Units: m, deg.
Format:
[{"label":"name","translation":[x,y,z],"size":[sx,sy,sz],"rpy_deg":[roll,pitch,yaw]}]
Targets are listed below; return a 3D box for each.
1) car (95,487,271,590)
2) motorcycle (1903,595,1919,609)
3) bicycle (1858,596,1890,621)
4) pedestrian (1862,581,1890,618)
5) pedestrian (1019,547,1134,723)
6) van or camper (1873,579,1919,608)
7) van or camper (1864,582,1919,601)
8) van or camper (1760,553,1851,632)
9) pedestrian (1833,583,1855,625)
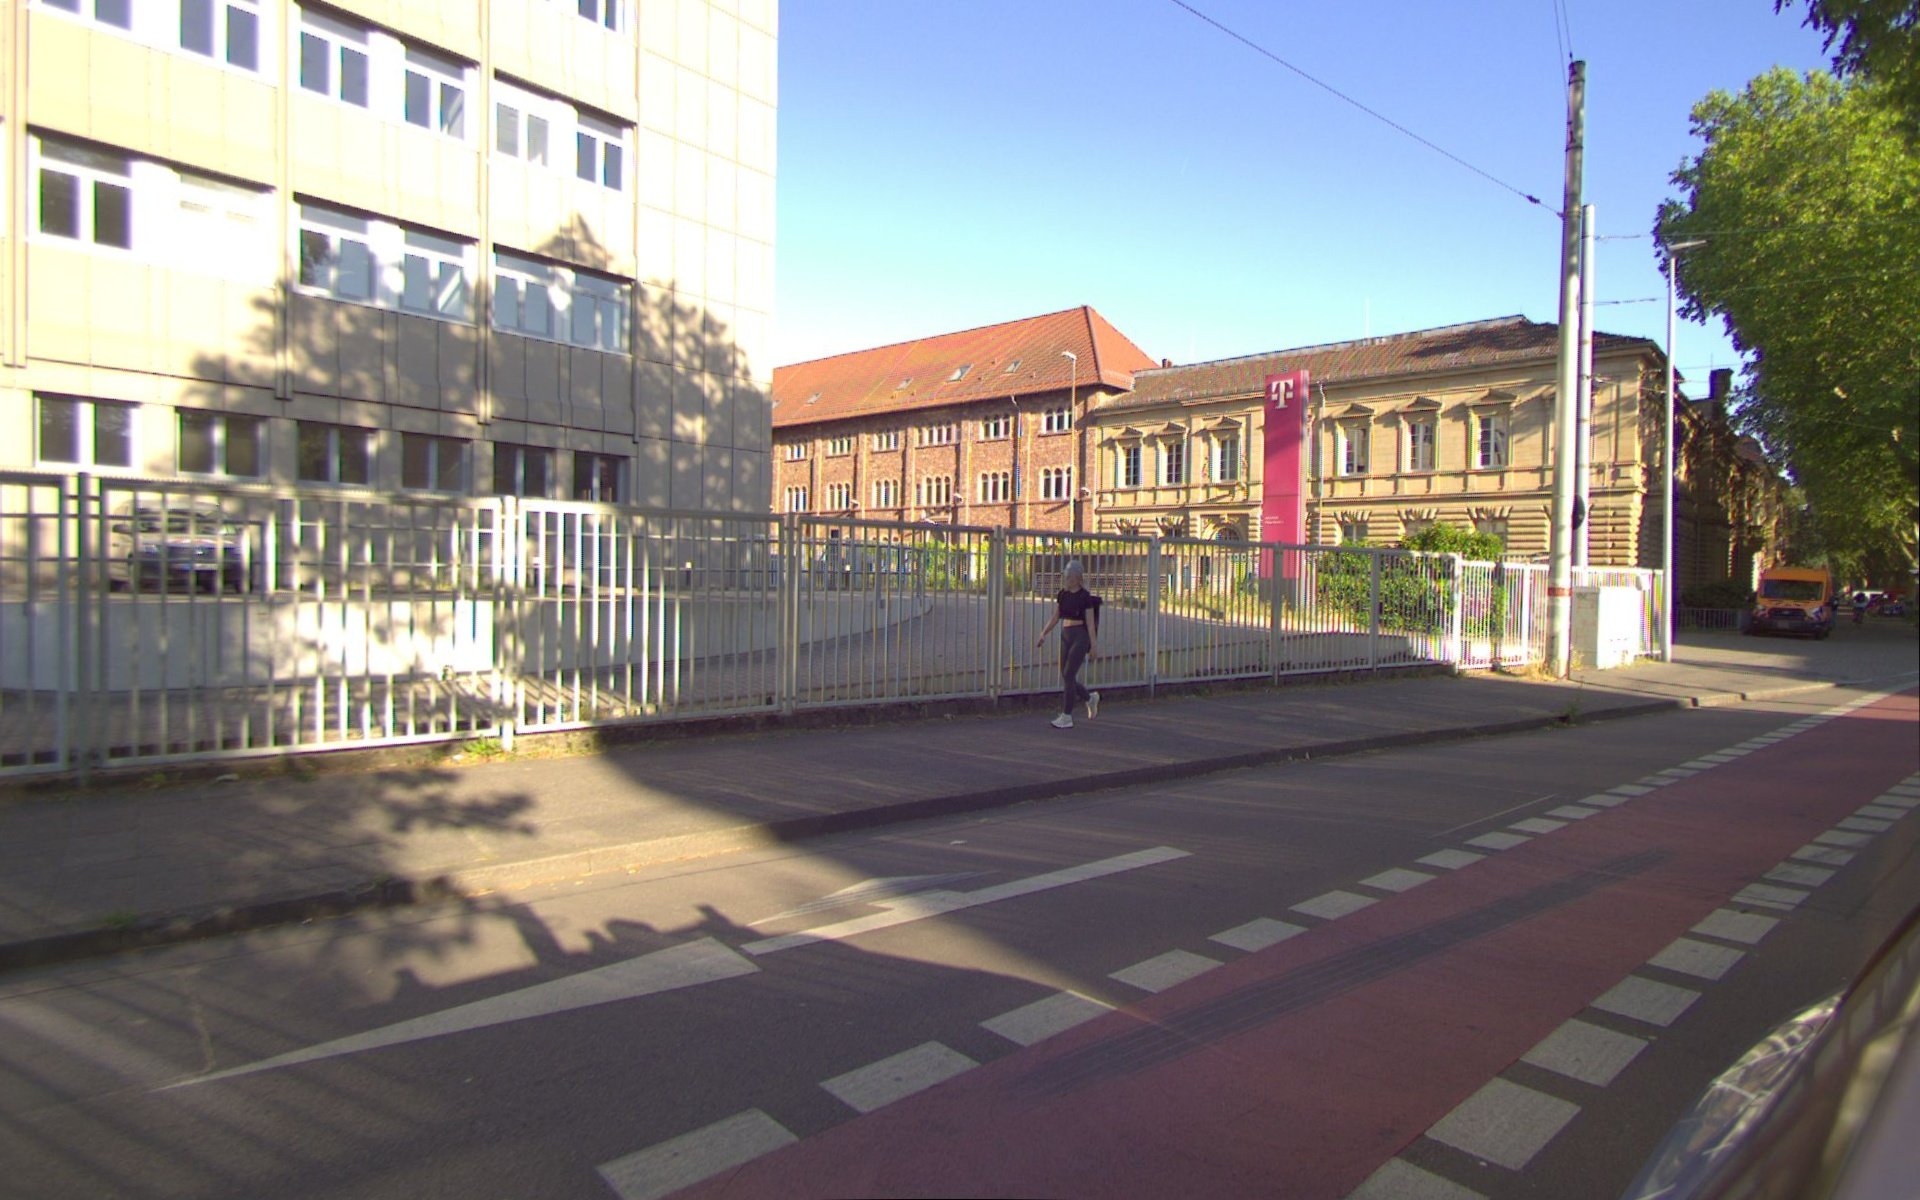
[{"label":"car","translation":[-14.800,-1.114,19.197],"size":[4.250,1.739,1.963],"rpy_deg":[3,2,43]},{"label":"motorcycle","translation":[72.835,0.161,77.269],"size":[1.249,1.067,0.394],"rpy_deg":[1,1,6]},{"label":"bicycle","translation":[42.654,0.392,47.243],"size":[0.671,1.044,1.880],"rpy_deg":[4,4,31]},{"label":"pedestrian","translation":[42.607,-0.019,47.098],"size":[0.667,1.638,1.090],"rpy_deg":[4,3,32]},{"label":"pedestrian","translation":[1.183,0.324,10.306],"size":[0.914,1.705,0.697],"rpy_deg":[0,1,-39]},{"label":"van or camper","translation":[86.737,-0.571,91.667],"size":[5.907,2.527,2.190],"rpy_deg":[2,4,41]},{"label":"van or camper","translation":[125.796,-1.179,136.255],"size":[6.083,2.461,2.390],"rpy_deg":[3,2,43]},{"label":"van or camper","translation":[30.018,-0.306,35.870],"size":[2.036,2.591,5.681],"rpy_deg":[2,2,44]},{"label":"pedestrian","translation":[37.593,0.158,43.037],"size":[0.650,1.757,0.992],"rpy_deg":[2,1,43]}]
